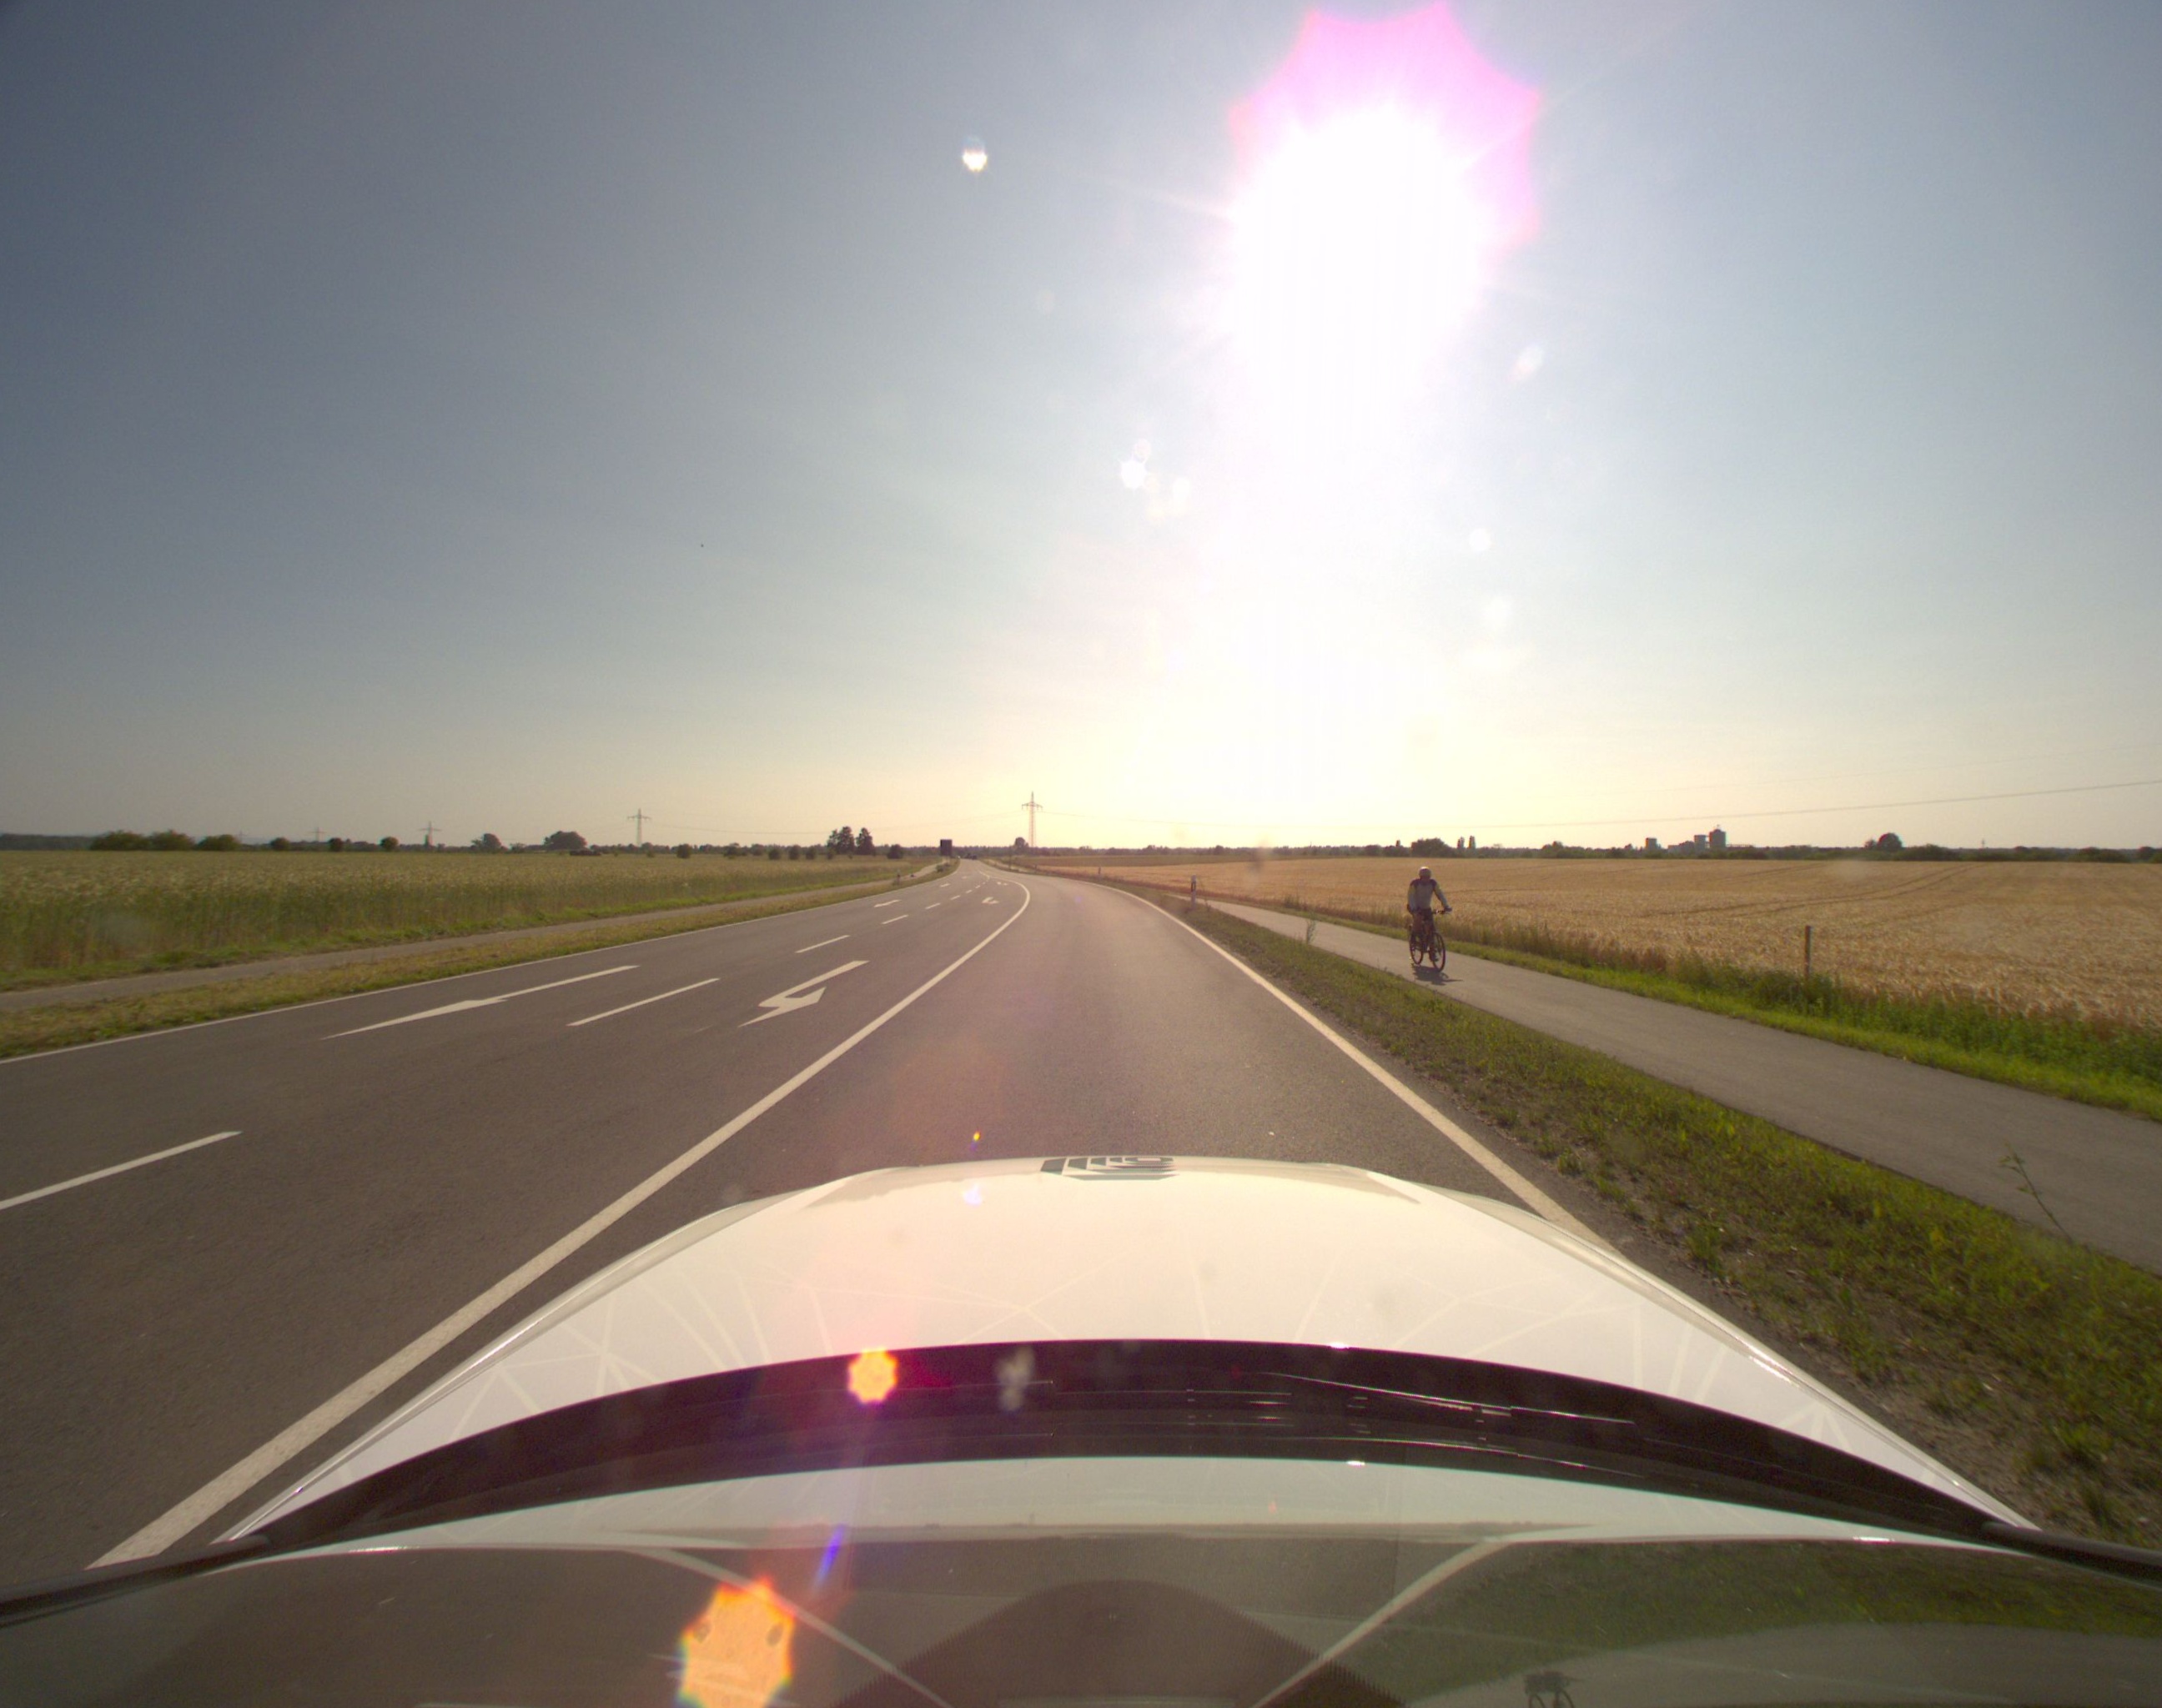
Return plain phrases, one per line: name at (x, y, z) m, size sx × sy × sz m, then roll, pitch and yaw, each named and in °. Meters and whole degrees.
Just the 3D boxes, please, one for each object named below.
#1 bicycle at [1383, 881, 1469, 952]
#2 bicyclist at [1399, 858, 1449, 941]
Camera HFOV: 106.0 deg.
bicycle at (6.317, 1.106, 15.066) m, size 0.841 × 1.142 × 2.210 m, roll 2°, pitch -1°, yaw 6°
bicyclist at (6.311, 0.818, 15.027) m, size 0.634 × 1.457 × 0.818 m, roll 2°, pitch -1°, yaw 7°
